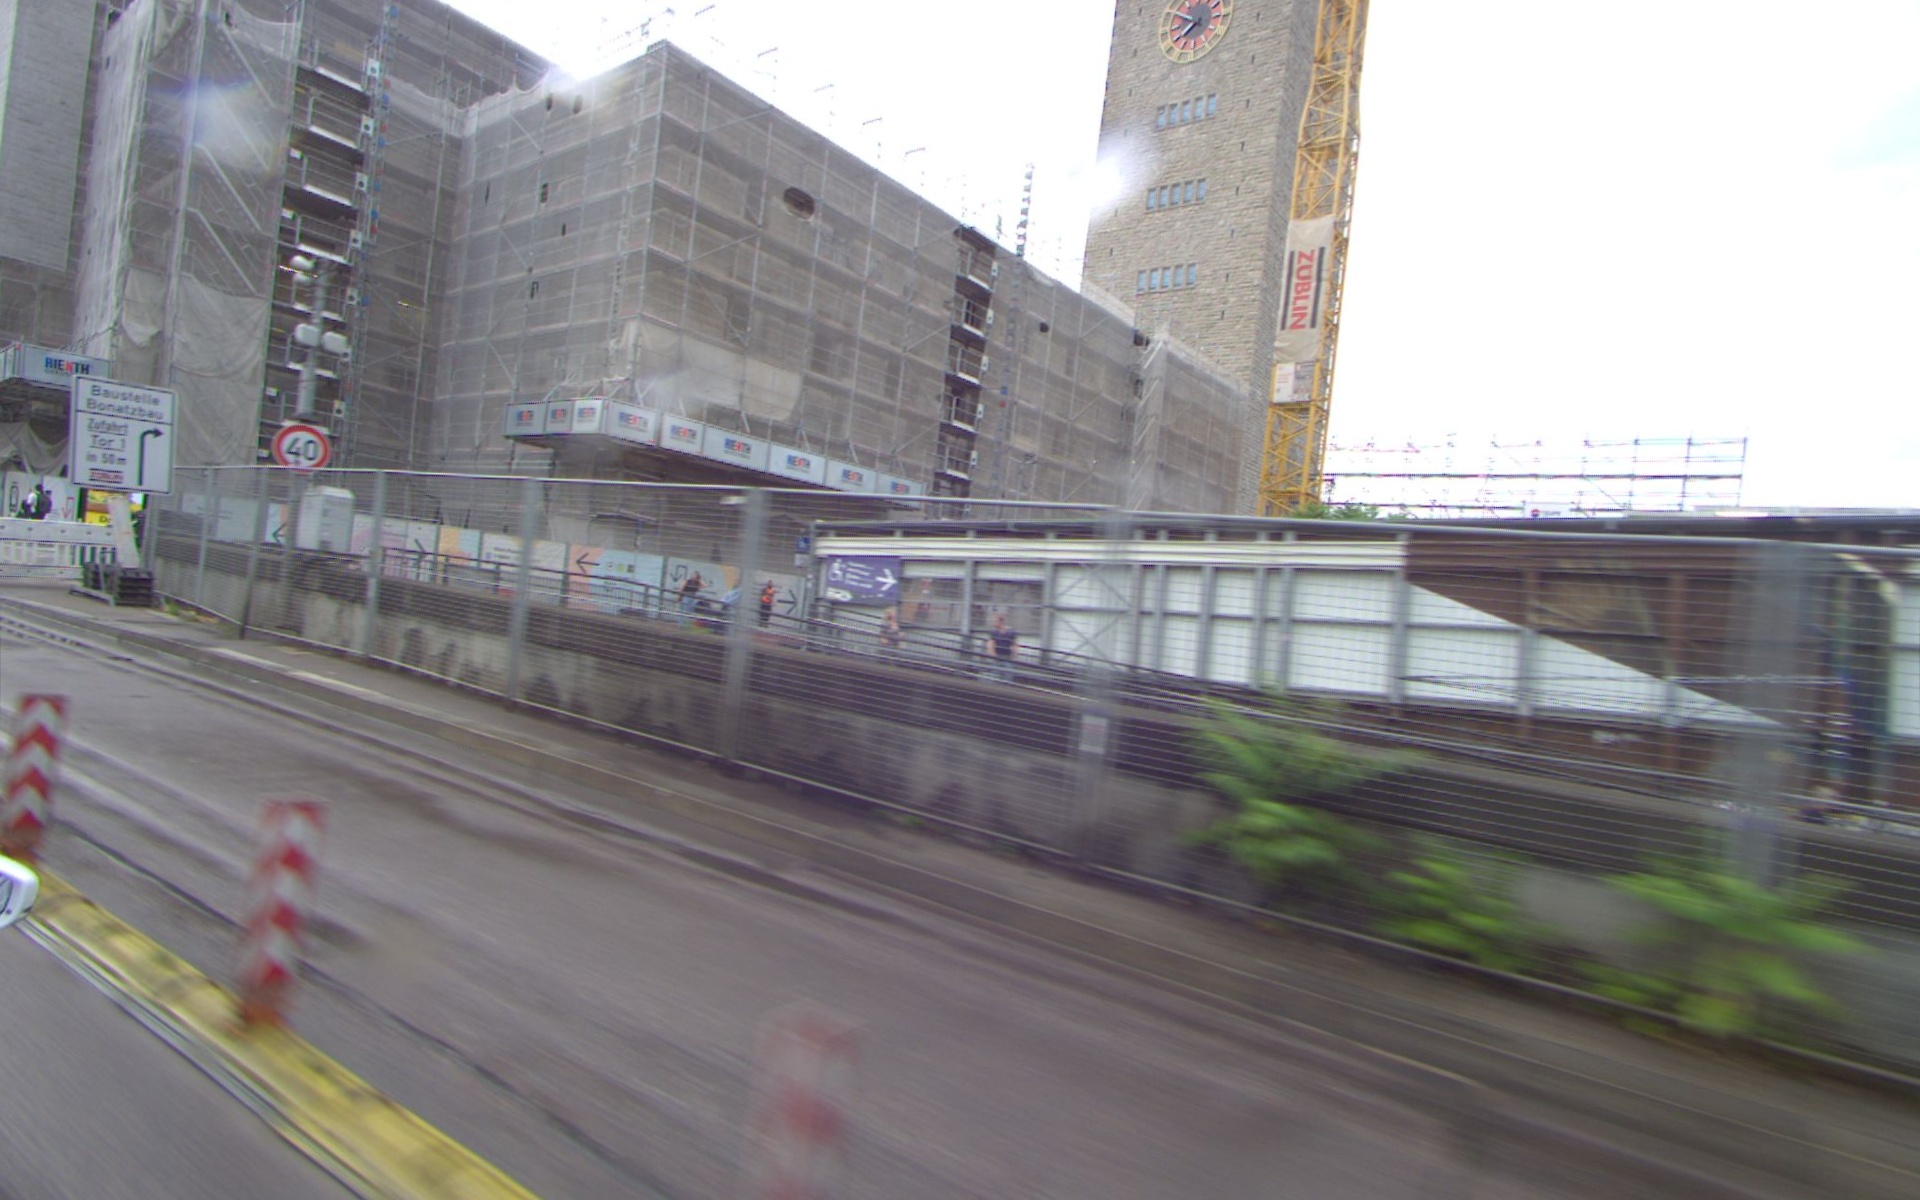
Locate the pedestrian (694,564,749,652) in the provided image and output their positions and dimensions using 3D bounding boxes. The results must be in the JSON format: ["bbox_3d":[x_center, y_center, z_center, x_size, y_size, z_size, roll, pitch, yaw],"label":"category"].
[{"bbox_3d":[-5.909,0.210,24.955,0.752,2.036,0.806,6,-2,30],"label":"pedestrian"}]

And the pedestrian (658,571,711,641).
[{"bbox_3d":[-6.854,0.161,25.060,0.697,1.611,0.856,6,-2,30],"label":"pedestrian"}]

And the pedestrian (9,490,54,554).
[{"bbox_3d":[-26.486,-2.228,28.706,0.943,1.700,0.735,7,3,37],"label":"pedestrian"}]

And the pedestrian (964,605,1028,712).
[{"bbox_3d":[0.737,1.188,20.342,0.752,2.036,0.866,6,-2,30],"label":"pedestrian"}]

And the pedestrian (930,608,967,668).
[{"bbox_3d":[-0.406,1.343,35.706,0.698,2.018,0.847,6,1,-44],"label":"pedestrian"}]

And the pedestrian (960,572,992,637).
[{"bbox_3d":[0.434,0.124,27.638,0.689,1.667,0.914,6,1,-2],"label":"pedestrian"}]

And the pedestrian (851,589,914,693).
[{"bbox_3d":[-1.603,0.852,20.879,0.752,2.036,0.780,6,-2,30],"label":"pedestrian"}]

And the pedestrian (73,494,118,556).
[{"bbox_3d":[-26.014,-2.262,30.261,1.094,1.703,0.732,7,1,40],"label":"pedestrian"}]

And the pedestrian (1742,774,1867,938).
[{"bbox_3d":[11.092,3.331,13.258,0.998,1.854,0.672,7,0,31],"label":"pedestrian"}]

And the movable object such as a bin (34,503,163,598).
[{"bbox_3d":[-15.601,-0.885,18.290,1.286,1.510,1.525,6,0,-24],"label":"movable object such as a bin"}]
